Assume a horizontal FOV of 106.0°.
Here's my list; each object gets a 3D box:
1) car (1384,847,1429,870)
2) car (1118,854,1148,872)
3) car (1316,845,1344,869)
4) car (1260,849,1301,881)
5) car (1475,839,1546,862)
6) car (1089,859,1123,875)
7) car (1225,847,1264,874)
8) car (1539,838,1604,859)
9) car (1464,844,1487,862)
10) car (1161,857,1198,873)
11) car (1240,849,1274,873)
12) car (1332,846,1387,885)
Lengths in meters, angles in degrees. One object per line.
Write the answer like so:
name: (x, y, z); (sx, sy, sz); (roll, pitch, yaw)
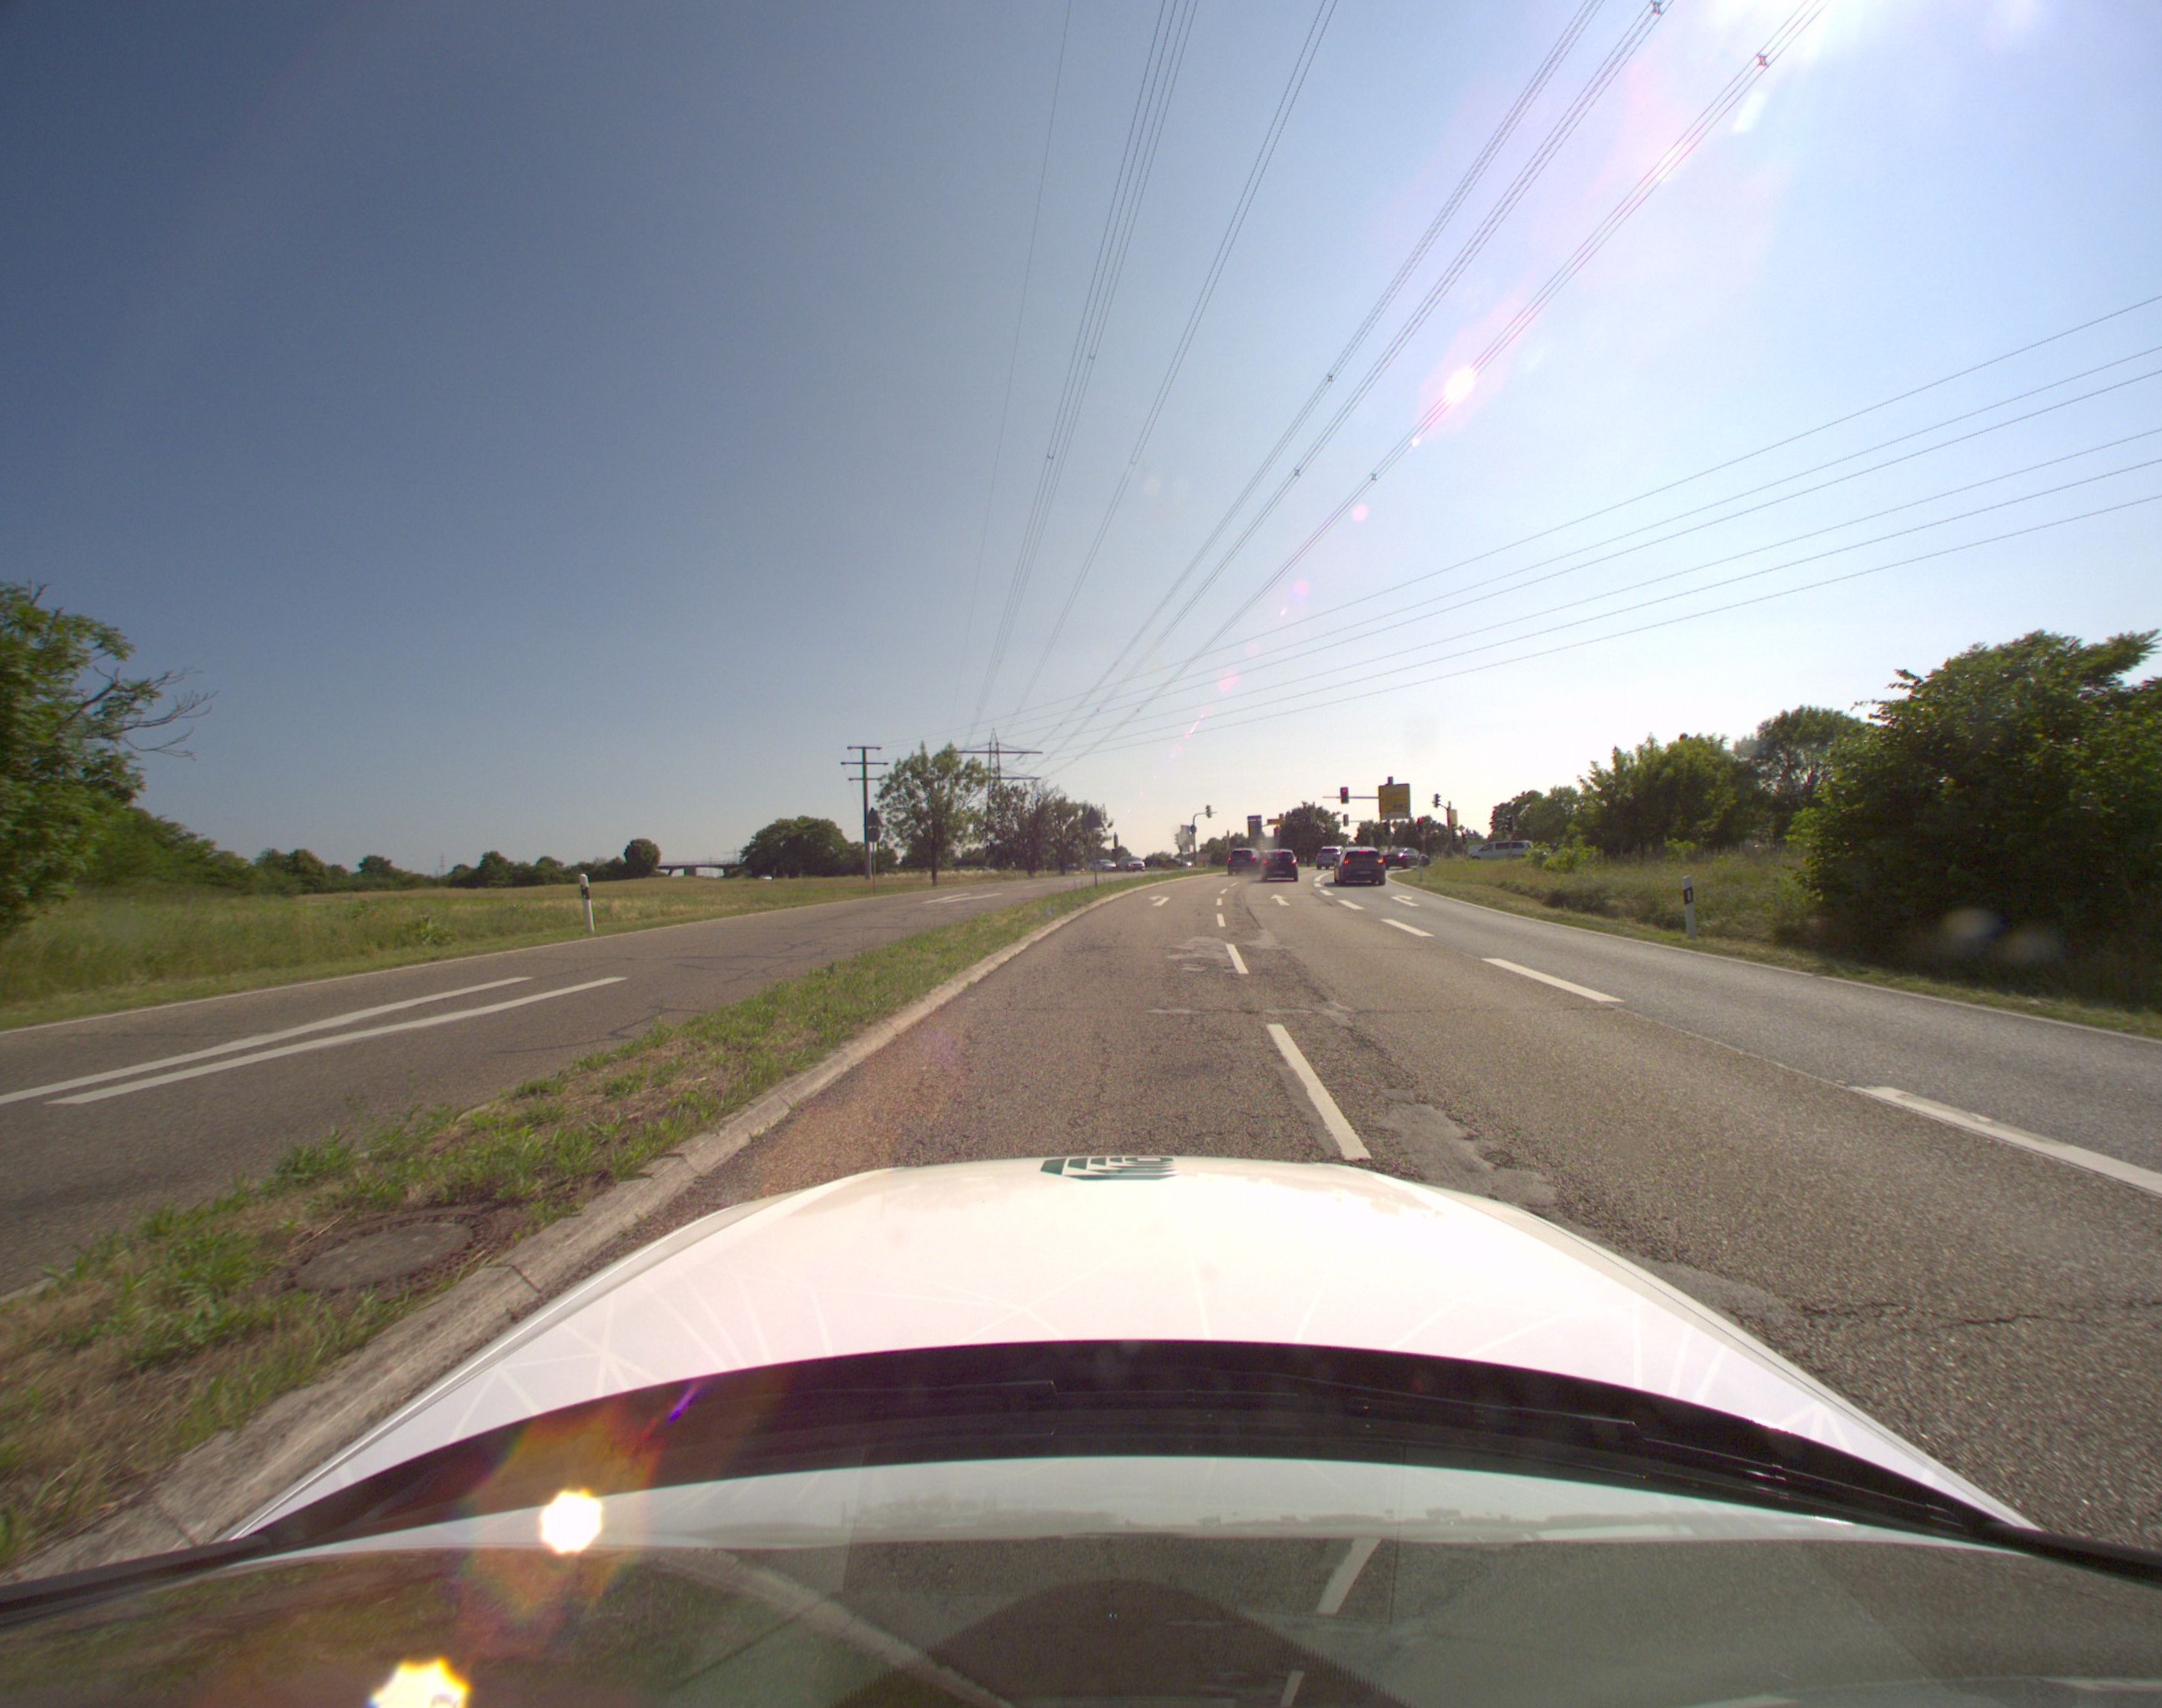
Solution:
car: (22.187, 0.279, 55.505); (1.625, 1.385, 4.025); (-3, 0, 40)
car: (5.240, 0.914, 82.444); (1.818, 1.651, 3.977); (-1, -1, -16)
car: (18.162, 0.206, 59.392); (1.619, 1.677, 3.769); (-1, -1, 21)
car: (9.392, 0.489, 38.167); (1.620, 1.448, 3.310); (-1, 0, 18)
car: (35.895, -0.274, 68.192); (2.012, 1.918, 4.887); (-1, 0, -44)
car: (2.698, 1.416, 88.704); (1.825, 1.651, 3.962); (-1, -1, -29)
car: (9.961, 0.357, 49.353); (1.727, 1.569, 3.642); (-1, 0, 20)
car: (40.656, -0.425, 67.592); (1.818, 1.519, 4.282); (-1, -2, -44)
car: (49.648, -0.132, 102.353); (1.911, 2.137, 4.670); (0, -1, 35)
car: (11.111, 1.230, 92.083); (1.830, 1.651, 3.951); (-1, -2, -42)
car: (11.896, 0.454, 54.927); (1.727, 1.569, 3.643); (0, -1, 21)
car: (11.433, 0.432, 33.630); (1.760, 1.517, 4.114); (-1, 0, 13)
